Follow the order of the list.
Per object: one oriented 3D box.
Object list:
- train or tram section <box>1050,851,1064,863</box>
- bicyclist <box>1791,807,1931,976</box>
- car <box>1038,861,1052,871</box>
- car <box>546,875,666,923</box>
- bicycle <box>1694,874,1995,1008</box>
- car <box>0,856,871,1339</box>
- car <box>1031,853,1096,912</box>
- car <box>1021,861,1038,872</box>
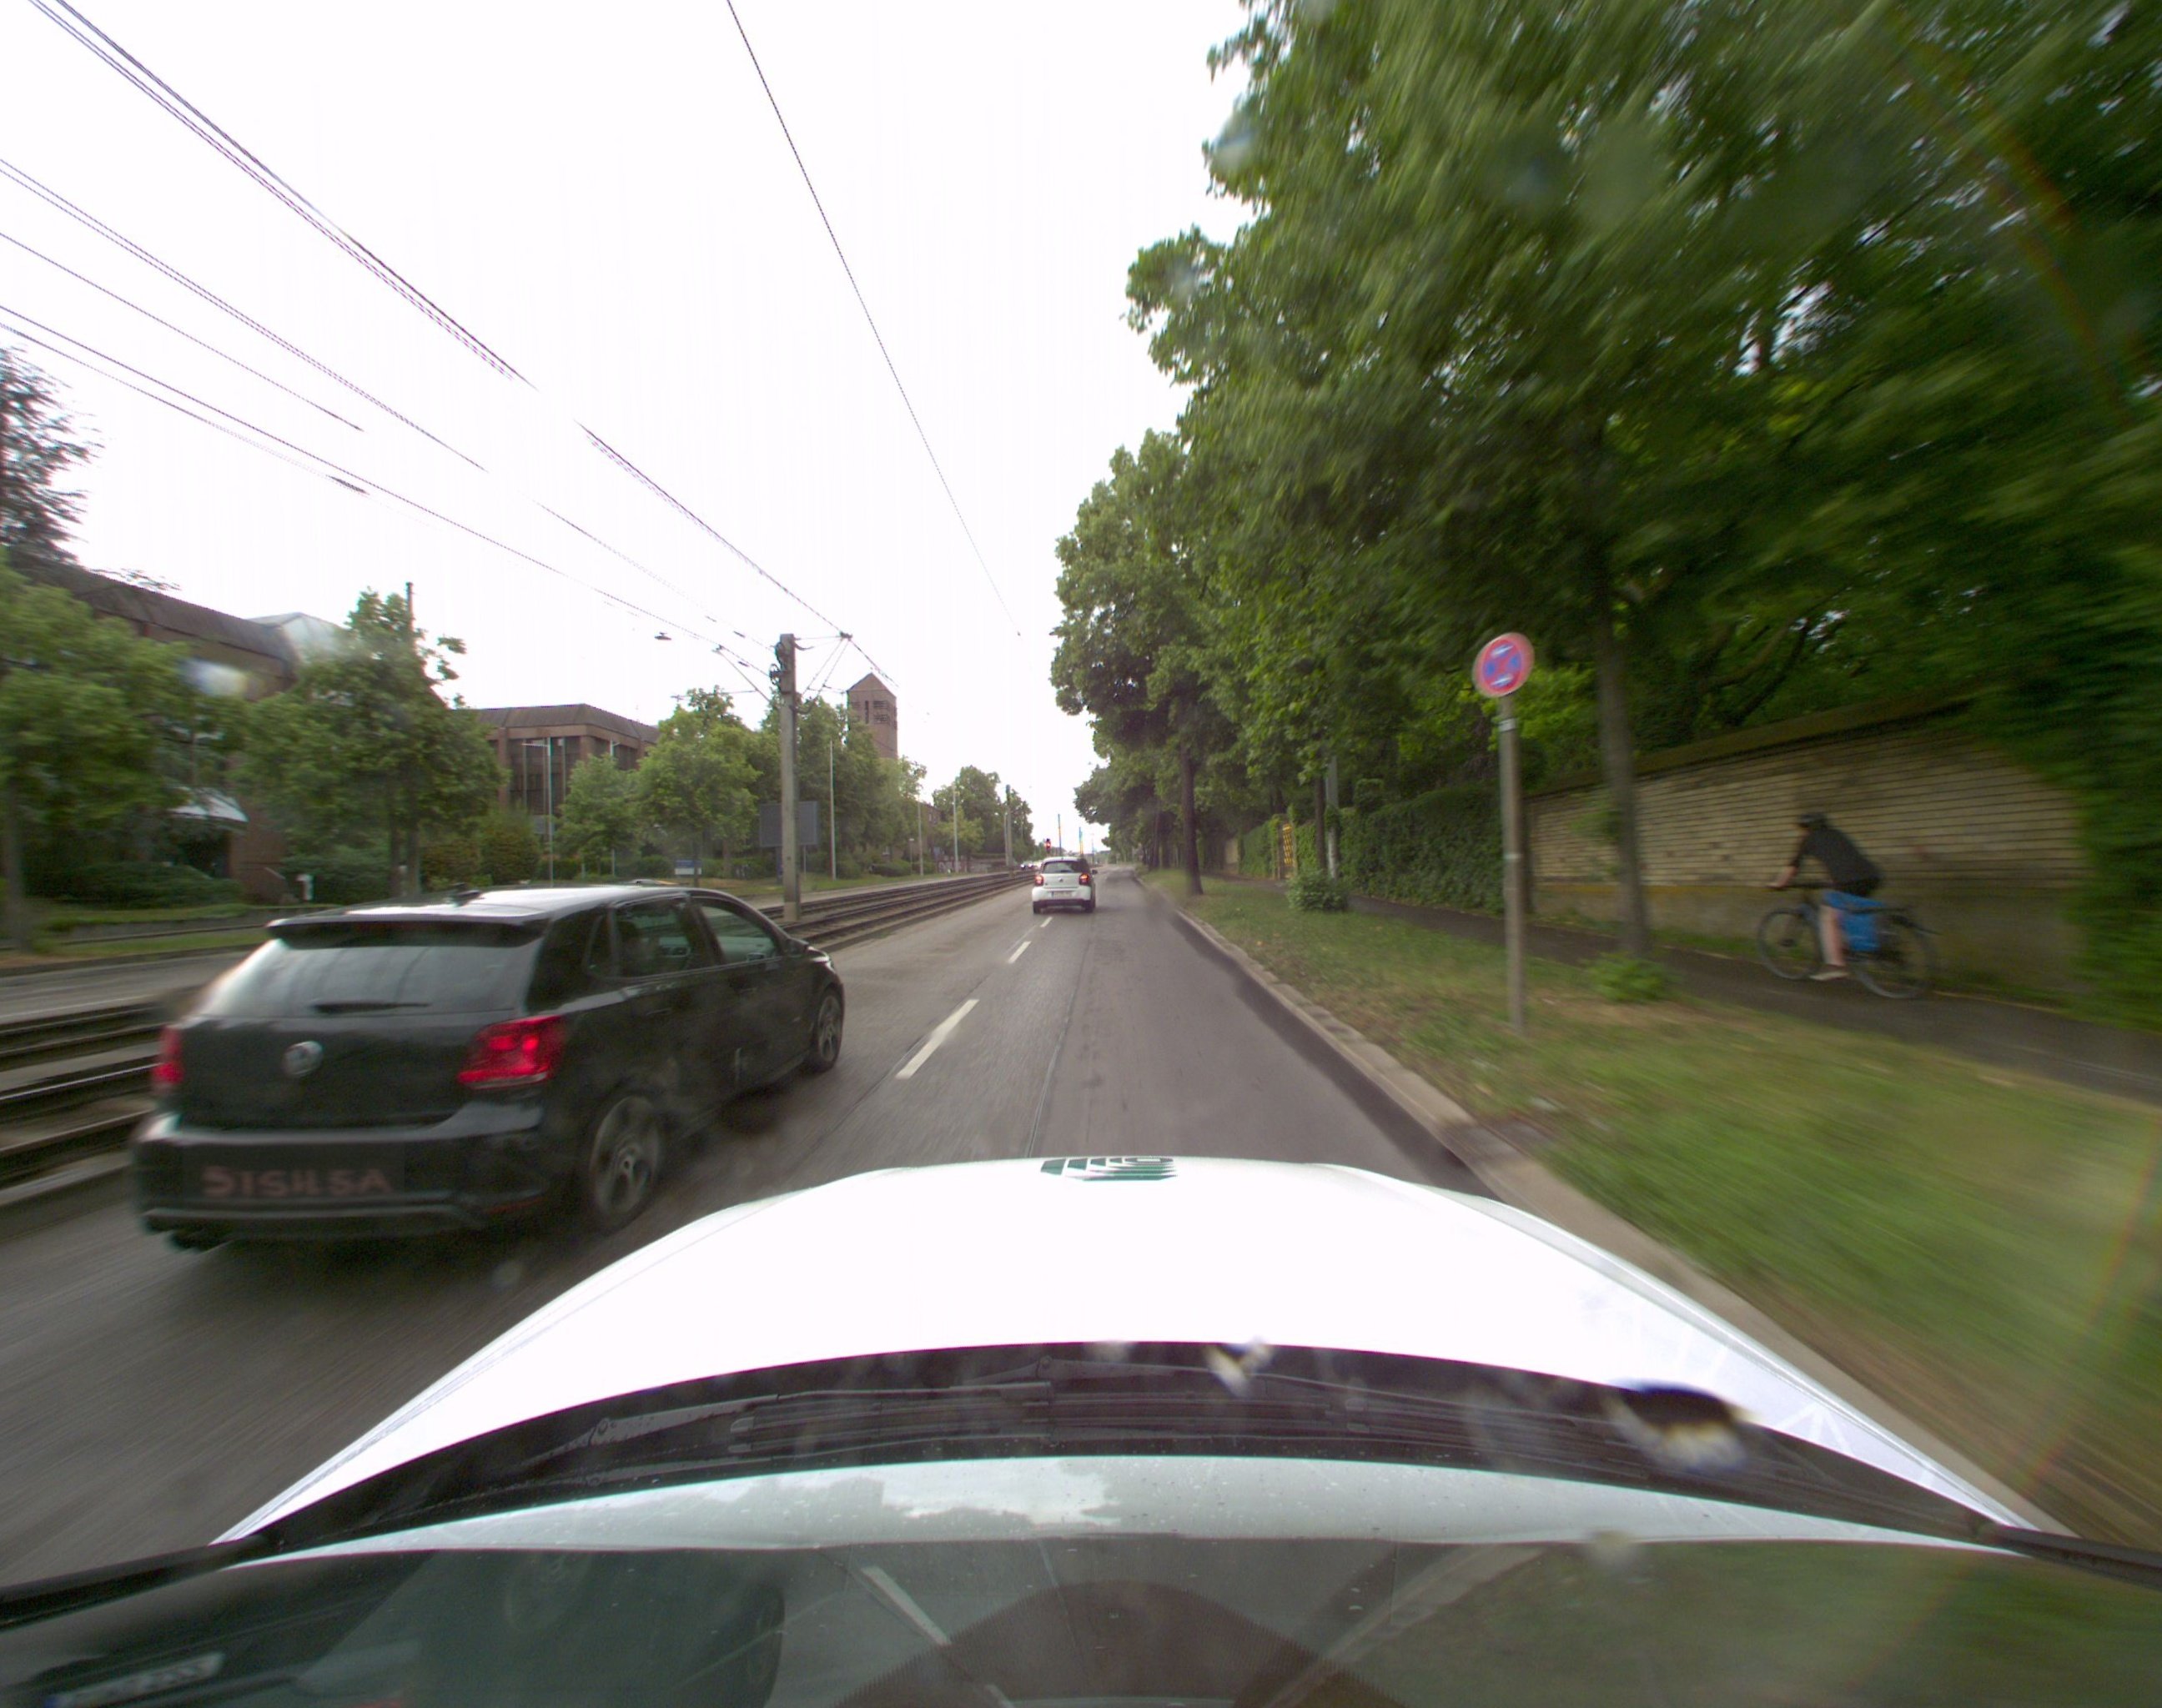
[{"bbox_3d":[-7.114,0.911,241.626,2.833,3.605,9.235,-1,0,-11],"label":"train or tram section"},{"bbox_3d":[6.772,0.313,7.103,0.532,1.389,0.667,-2,-1,5],"label":"bicyclist"},{"bbox_3d":[-6.298,2.059,143.318,1.825,1.656,4.246,-2,0,6],"label":"car"},{"bbox_3d":[-18.044,1.648,31.233,1.788,1.530,4.622,-2,0,1],"label":"car"},{"bbox_3d":[6.807,0.700,7.513,0.540,0.948,2.553,-2,0,5],"label":"bicycle"},{"bbox_3d":[-2.672,0.803,4.653,1.788,1.485,3.965,-3,0,1],"label":"car"},{"bbox_3d":[-0.433,0.762,23.651,1.670,1.531,3.723,1,0,2],"label":"car"},{"bbox_3d":[-8.928,2.182,141.192,2.003,1.656,4.624,-2,0,6],"label":"car"}]
